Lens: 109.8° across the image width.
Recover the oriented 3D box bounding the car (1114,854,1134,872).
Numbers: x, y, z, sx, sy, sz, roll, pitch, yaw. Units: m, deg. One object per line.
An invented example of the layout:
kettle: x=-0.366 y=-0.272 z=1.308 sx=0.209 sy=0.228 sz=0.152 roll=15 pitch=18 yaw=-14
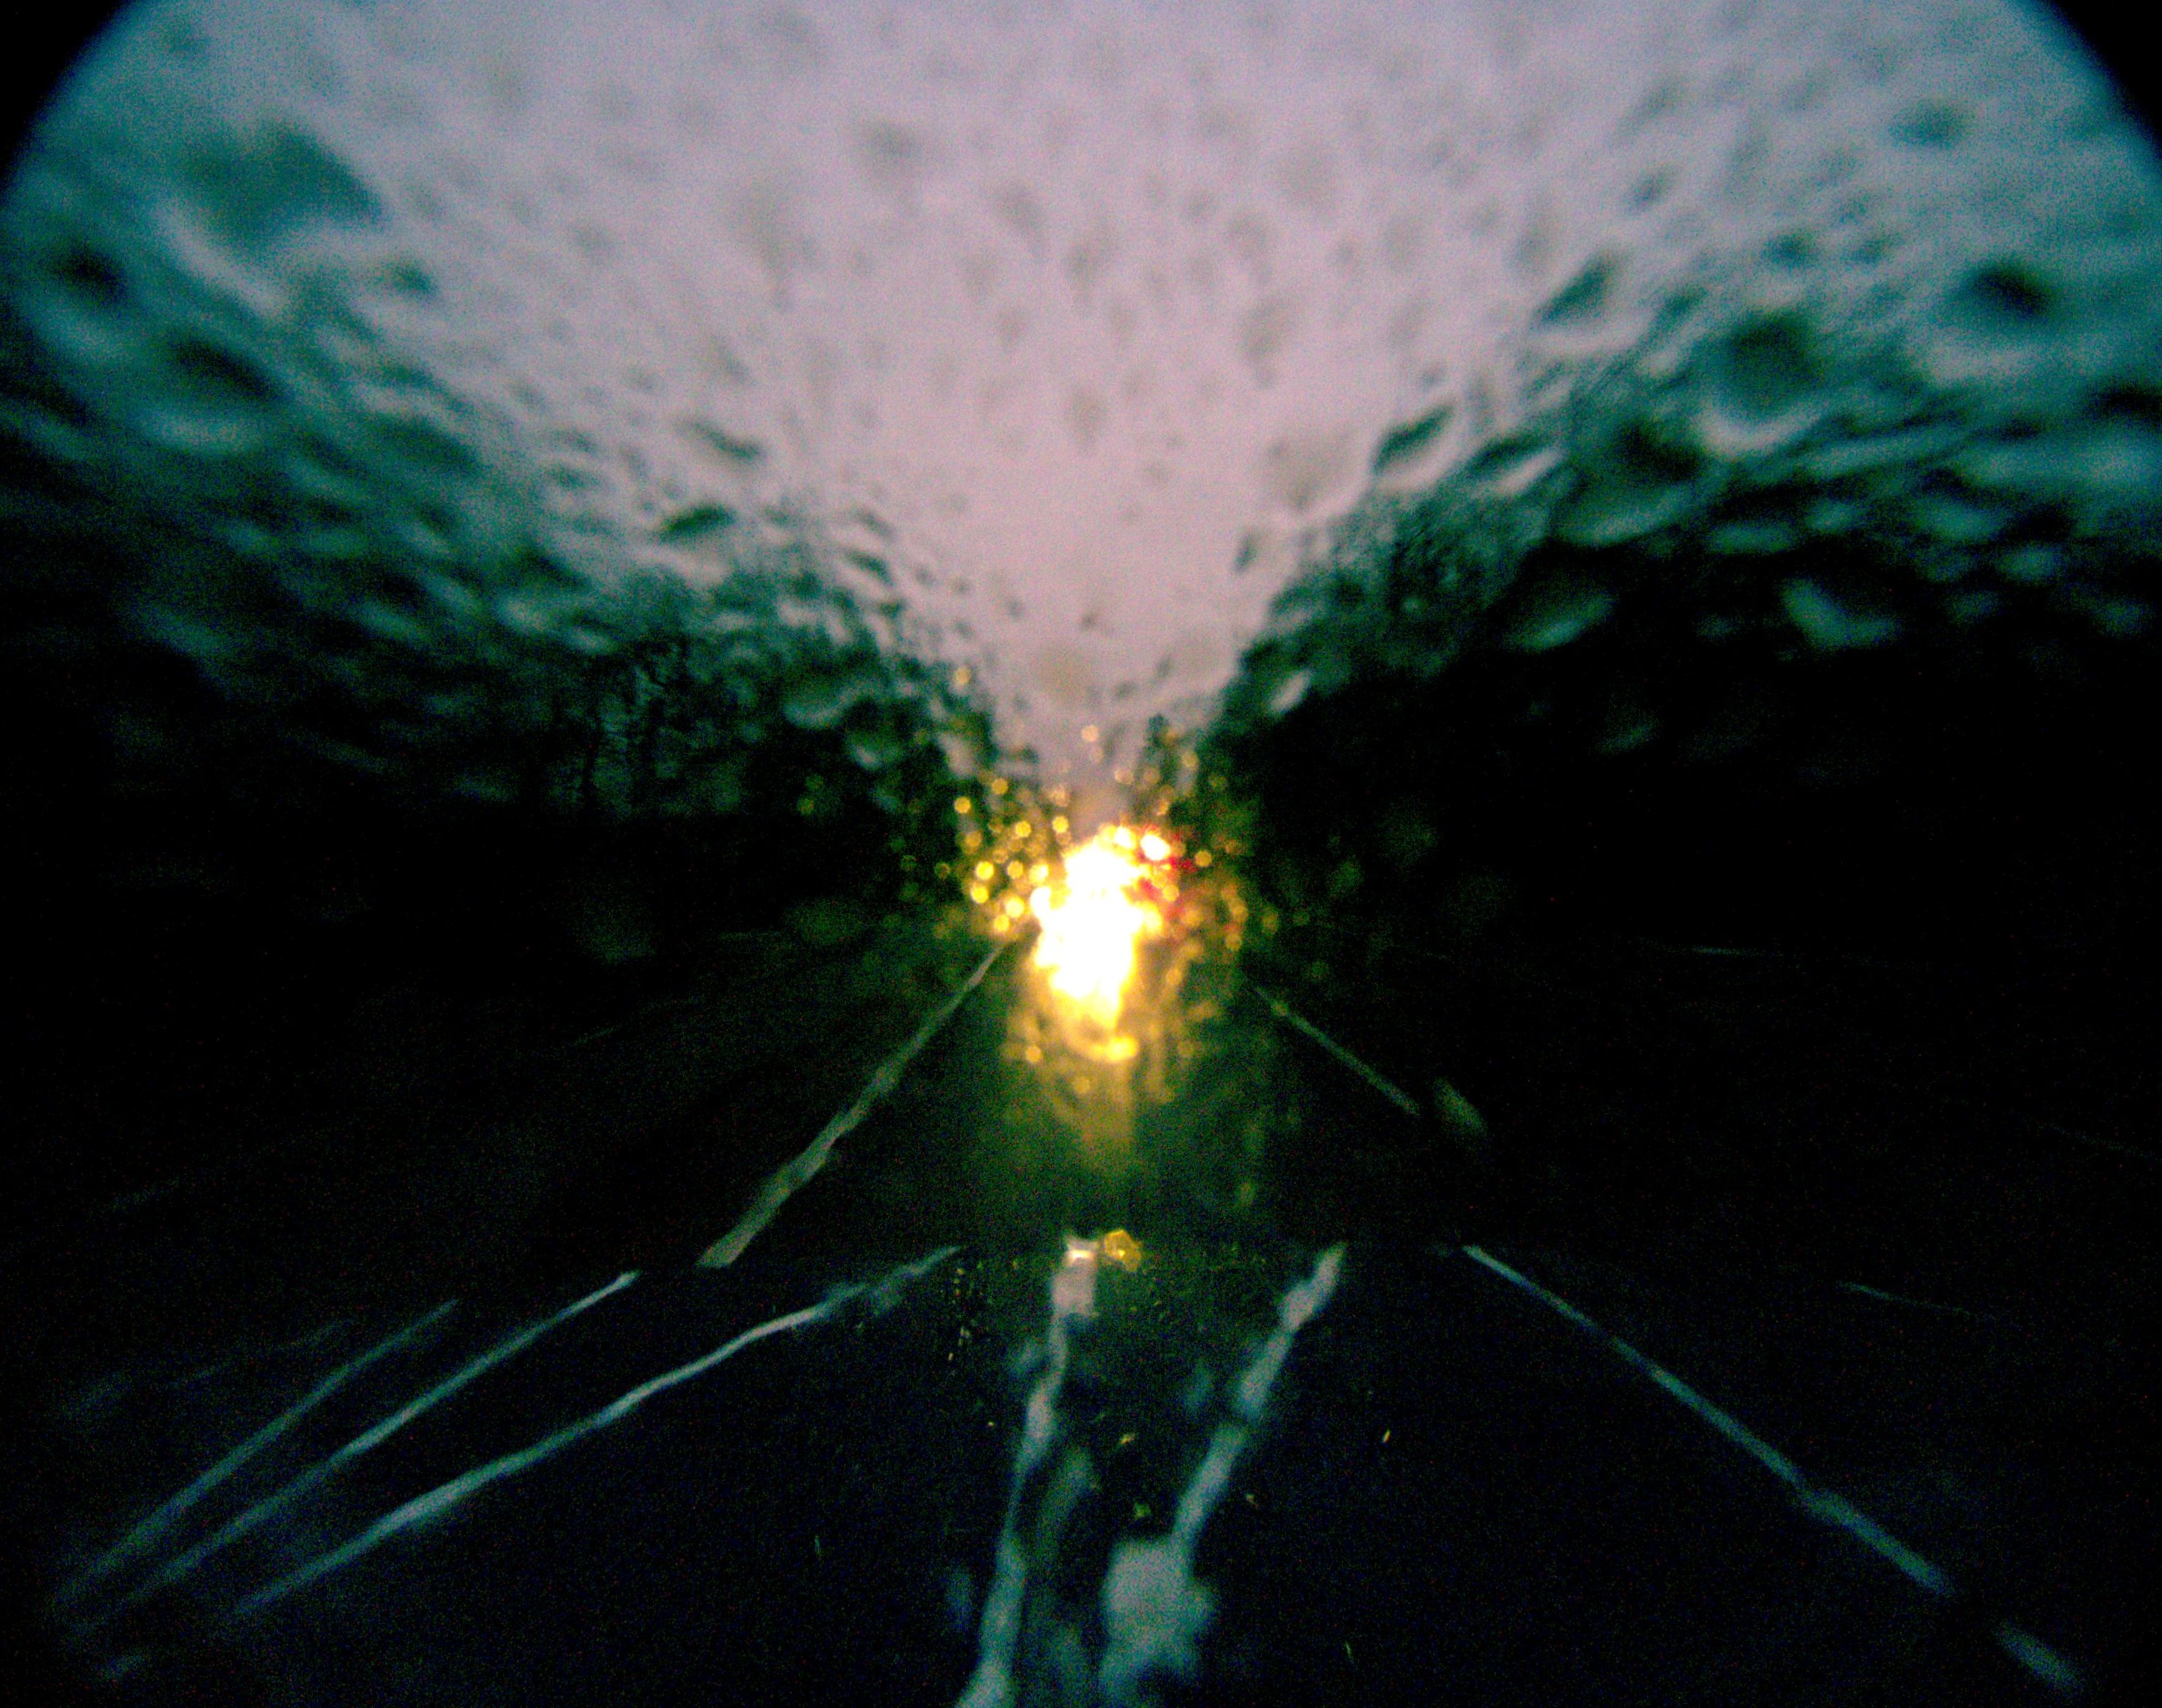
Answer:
car: x=4.113 y=0.844 z=72.996 sx=1.585 sy=1.541 sz=3.999 roll=-1 pitch=0 yaw=0

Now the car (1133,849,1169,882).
car: x=4.012 y=0.637 z=44.237 sx=1.710 sy=1.811 sz=4.285 roll=-1 pitch=0 yaw=1

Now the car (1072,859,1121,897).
car: x=0.615 y=0.917 z=30.988 sx=1.845 sy=1.390 sz=4.000 roll=-1 pitch=0 yaw=1

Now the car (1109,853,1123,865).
car: x=4.813 y=0.703 z=105.350 sx=1.745 sy=1.625 sz=4.000 roll=-1 pitch=0 yaw=1

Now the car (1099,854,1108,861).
car: x=4.556 y=0.689 z=152.526 sx=1.769 sy=1.449 sz=4.507 roll=0 pitch=0 yaw=0

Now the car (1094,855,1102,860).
car: x=4.406 y=0.890 z=197.330 sx=1.803 sy=1.453 sz=4.176 roll=0 pitch=0 yaw=1
